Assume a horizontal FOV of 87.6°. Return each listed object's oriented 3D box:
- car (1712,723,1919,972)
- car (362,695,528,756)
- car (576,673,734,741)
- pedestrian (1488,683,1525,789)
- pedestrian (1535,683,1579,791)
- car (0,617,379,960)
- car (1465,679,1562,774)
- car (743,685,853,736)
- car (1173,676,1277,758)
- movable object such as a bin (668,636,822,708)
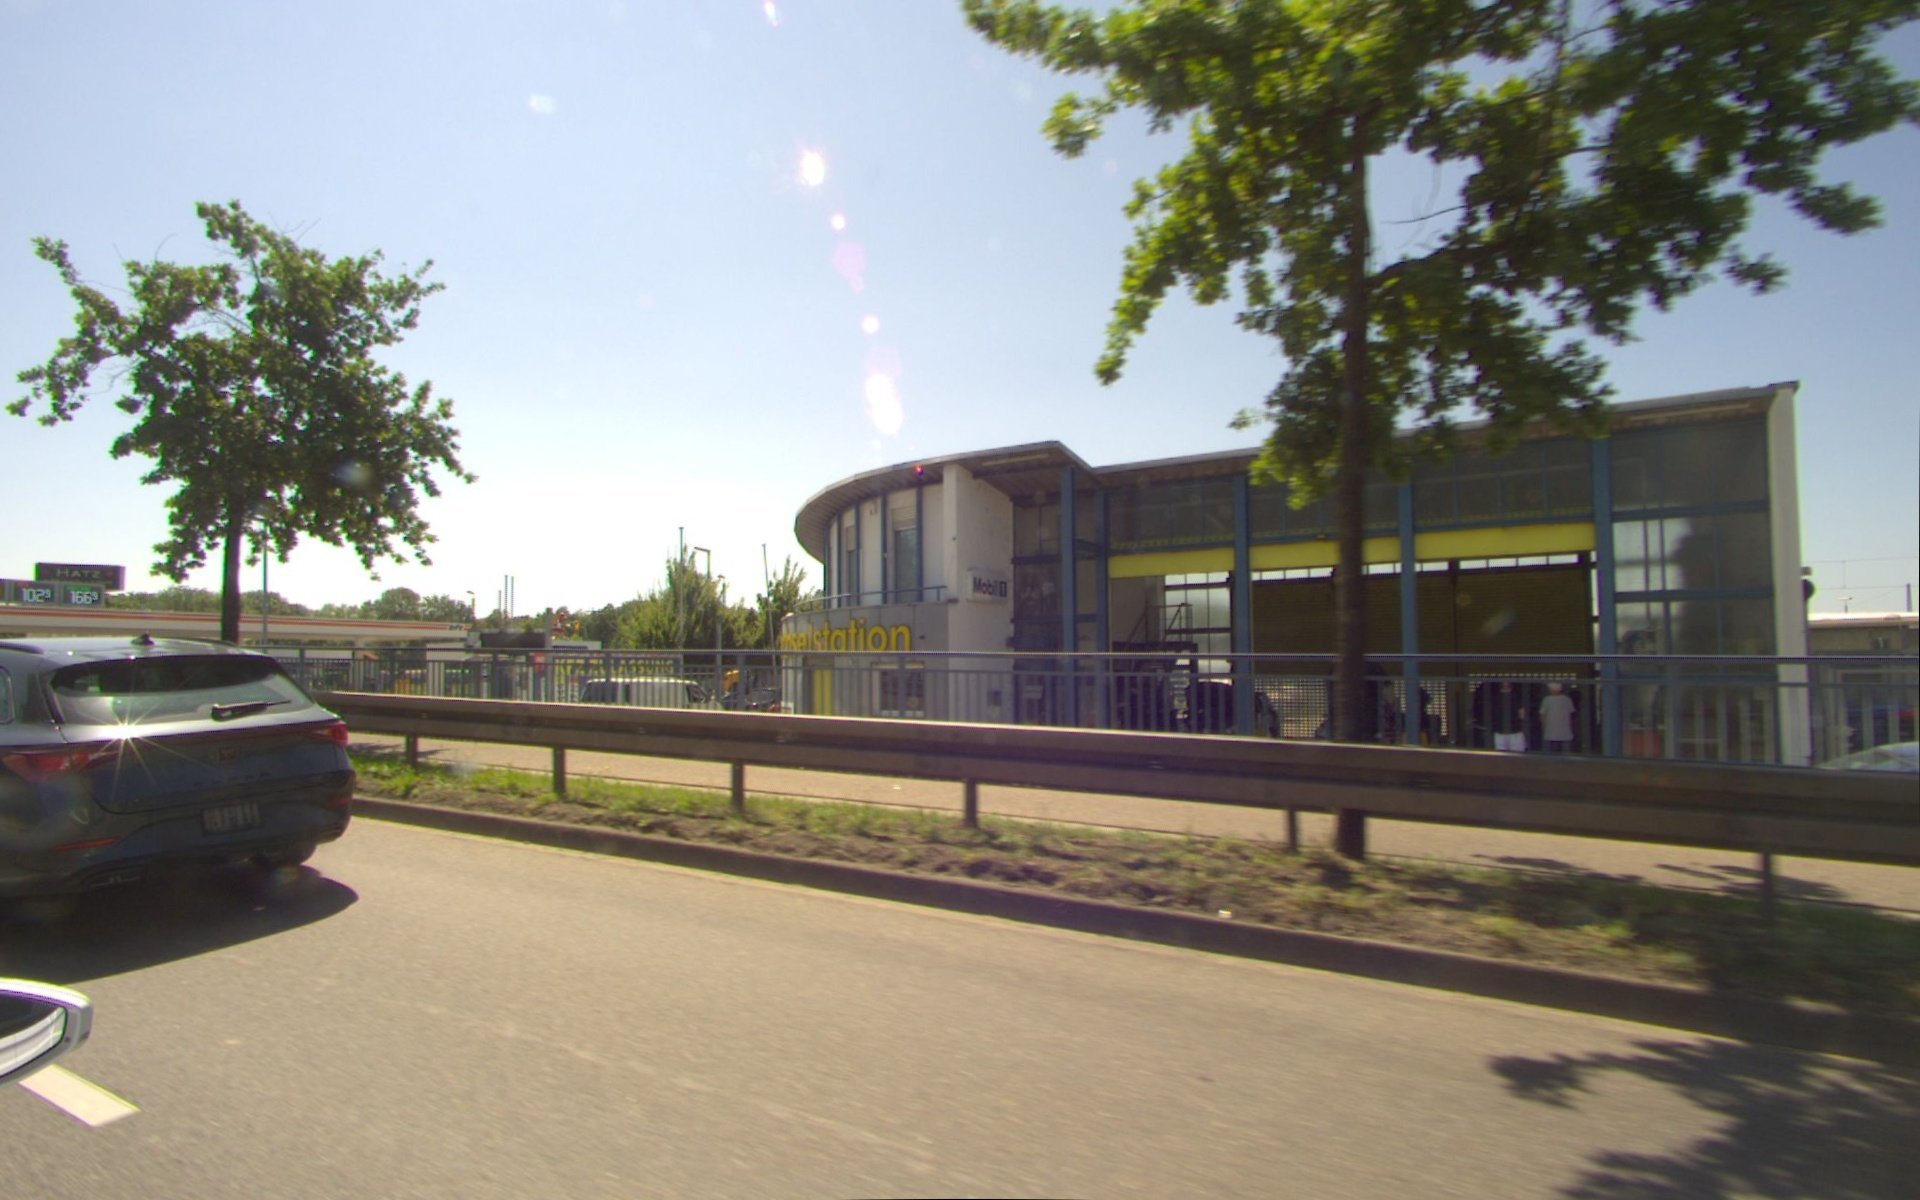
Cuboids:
[{"bbox_3d":[7.742,1.748,6.986,3.847,1.551,1.629,-3,-3,34],"label":"car"},{"bbox_3d":[-12.432,3.023,24.324,3.254,1.325,1.465,0,-2,-6],"label":"car"},{"bbox_3d":[-8.769,3.040,29.187,1.573,1.680,4.590,-2,-3,31],"label":"car"},{"bbox_3d":[9.259,2.281,16.956,0.481,1.724,0.520,-2,-2,33],"label":"pedestrian"},{"bbox_3d":[9.906,2.255,16.609,0.581,1.724,0.425,-2,-2,32],"label":"pedestrian"},{"bbox_3d":[-5.551,0.913,6.005,4.170,1.474,1.604,-2,-3,27],"label":"car"},{"bbox_3d":[11.687,2.579,21.250,1.625,1.705,3.666,-2,-3,28],"label":"car"},{"bbox_3d":[-5.502,3.742,34.504,1.450,1.493,4.129,-2,-3,31],"label":"car"},{"bbox_3d":[6.405,2.722,23.993,1.625,1.705,3.667,-2,-3,28],"label":"car"},{"bbox_3d":[-12.164,4.052,58.170,2.986,3.753,11.056,-2,-3,22],"label":"movable object such as a bin"}]
